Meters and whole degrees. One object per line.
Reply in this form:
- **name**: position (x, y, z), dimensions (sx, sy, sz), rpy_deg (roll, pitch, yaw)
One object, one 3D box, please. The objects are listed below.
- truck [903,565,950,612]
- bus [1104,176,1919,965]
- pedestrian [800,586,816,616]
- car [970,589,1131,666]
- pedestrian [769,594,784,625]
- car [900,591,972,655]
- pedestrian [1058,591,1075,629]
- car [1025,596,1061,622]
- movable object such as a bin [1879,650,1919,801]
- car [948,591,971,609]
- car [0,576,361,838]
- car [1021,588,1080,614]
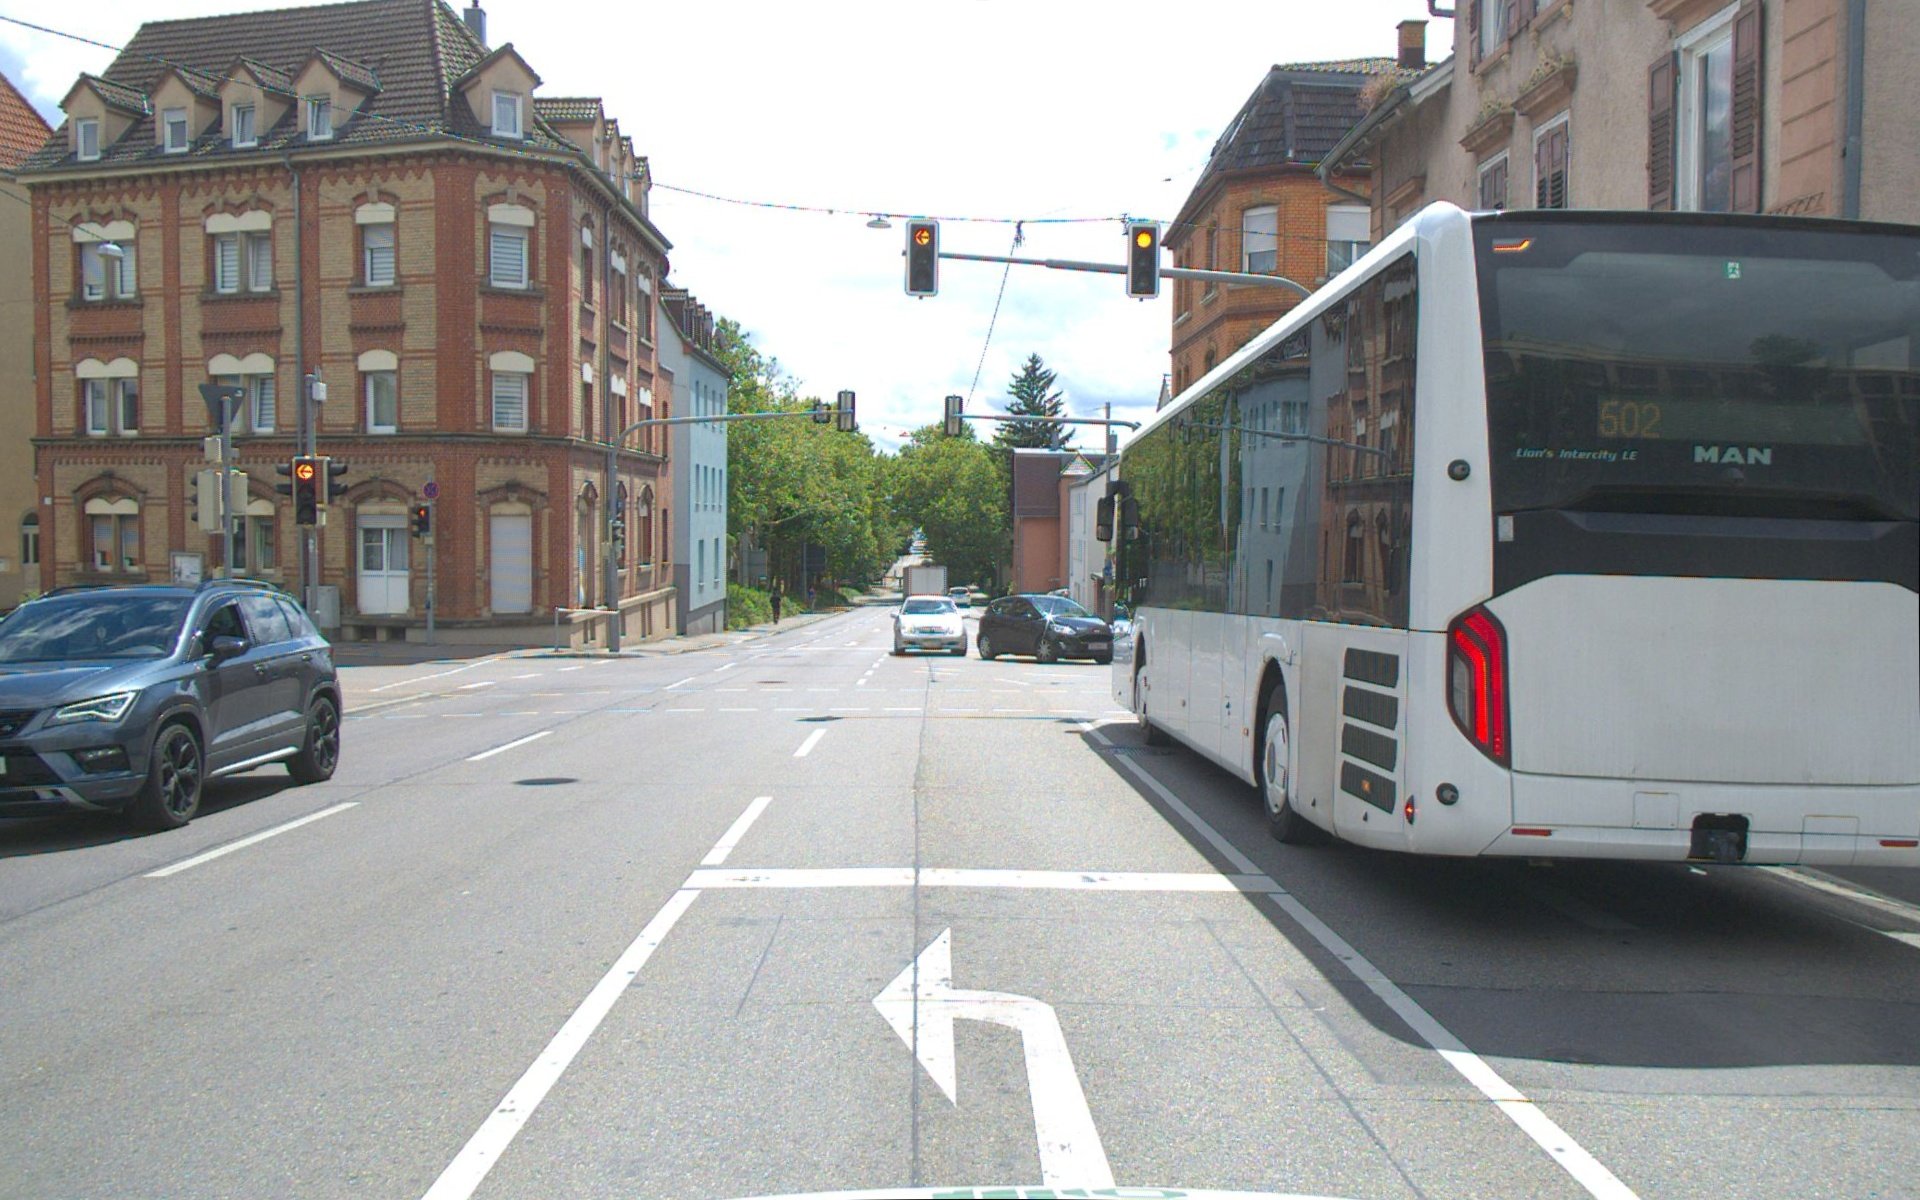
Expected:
- **truck**: position (-2.389, -0.806, 114.867), dimensions (2.868, 3.135, 7.879), rpy_deg (-1, 1, -4)
- **bus**: position (3.082, -0.188, 13.015), dimensions (2.618, 3.210, 12.460), rpy_deg (-1, 1, -1)
- **pedestrian**: position (-10.306, 0.081, 112.057), dimensions (0.974, 2.049, 1.188), rpy_deg (0, 0, -1)
- **car**: position (1.902, 0.538, 35.809), dimensions (1.740, 1.543, 3.755), rpy_deg (-1, 1, -30)
- **pedestrian**: position (-9.467, 0.506, 85.407), dimensions (0.714, 1.592, 0.560), rpy_deg (0, 0, -2)
- **car**: position (-0.553, 0.533, 40.365), dimensions (1.664, 1.452, 4.000), rpy_deg (-1, 0, 0)
- **pedestrian**: position (5.132, 0.477, 79.841), dimensions (0.723, 1.781, 0.619), rpy_deg (-1, 0, -1)
- **car**: position (4.824, 0.524, 96.862), dimensions (1.758, 1.434, 3.999), rpy_deg (-1, 1, -2)
- **movable object such as a bin**: position (7.103, 0.885, 11.720), dimensions (0.760, 1.030, 0.749), rpy_deg (-1, 0, -1)
- **car**: position (-0.075, -0.002, 132.907), dimensions (1.758, 1.434, 3.999), rpy_deg (1, 0, -1)
- **car**: position (-5.802, 0.620, 11.800), dimensions (1.723, 1.548, 3.956), rpy_deg (-1, 1, -2)
- **car**: position (6.390, 0.033, 116.988), dimensions (3.909, 1.788, 1.998), rpy_deg (-1, 0, -6)
